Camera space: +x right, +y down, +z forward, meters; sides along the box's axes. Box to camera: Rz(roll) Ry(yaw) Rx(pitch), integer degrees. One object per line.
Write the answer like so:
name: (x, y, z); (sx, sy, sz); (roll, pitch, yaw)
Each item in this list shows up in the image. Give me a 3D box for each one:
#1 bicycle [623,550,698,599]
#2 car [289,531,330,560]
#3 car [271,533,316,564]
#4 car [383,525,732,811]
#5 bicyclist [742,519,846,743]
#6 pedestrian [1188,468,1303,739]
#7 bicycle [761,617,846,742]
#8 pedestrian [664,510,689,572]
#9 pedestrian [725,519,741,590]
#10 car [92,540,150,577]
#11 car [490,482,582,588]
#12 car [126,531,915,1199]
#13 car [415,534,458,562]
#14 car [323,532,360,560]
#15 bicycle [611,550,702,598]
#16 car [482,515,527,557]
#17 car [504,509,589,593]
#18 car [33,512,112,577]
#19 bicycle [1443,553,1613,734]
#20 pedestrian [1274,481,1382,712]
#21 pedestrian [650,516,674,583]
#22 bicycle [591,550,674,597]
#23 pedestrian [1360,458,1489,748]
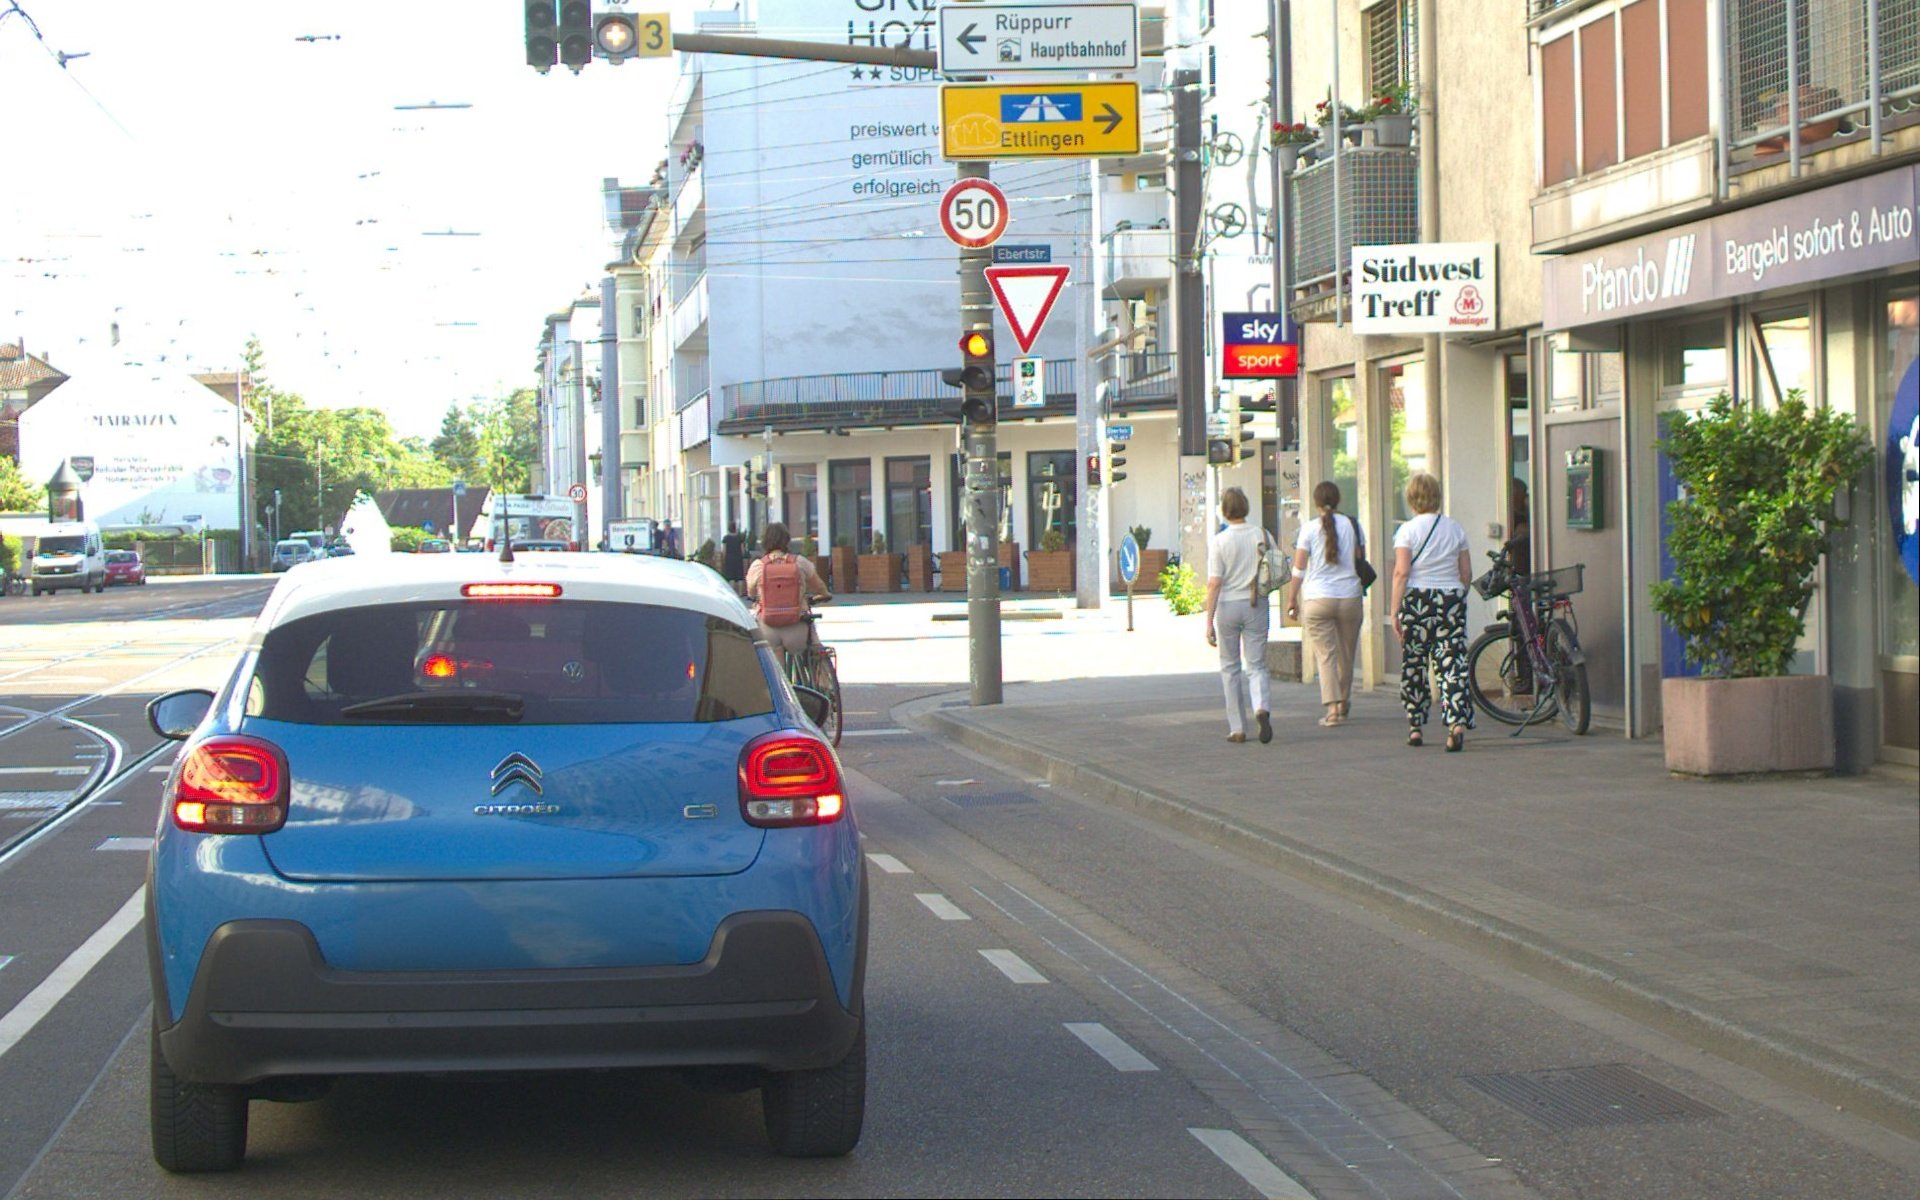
bicycle: (-6.203, -0.532, 71.270); (1.503, 0.953, 0.702); (-1, 1, -3)
car: (-36.030, -3.022, 190.533); (2.021, 1.520, 4.001); (-1, 1, -8)
car: (-33.539, -2.588, 173.051); (2.021, 1.520, 4.001); (-1, 1, -8)
car: (-2.196, 0.299, 19.439); (1.738, 1.415, 4.001); (-1, 1, -5)
bicyclist: (-1.252, 0.218, 25.811); (0.726, 1.640, 0.790); (-1, 1, -4)
pedestrian: (1.806, 0.010, 21.781); (0.541, 1.666, 0.624); (-3, 3, -6)
bicycle: (-1.205, 0.590, 26.230); (0.498, 0.861, 1.749); (-1, 1, -7)
pedestrian: (-7.110, -1.477, 86.218); (0.491, 1.550, 0.648); (-1, 1, -13)
pedestrian: (-4.985, -1.003, 75.501); (0.284, 1.550, 0.305); (-1, 1, -13)
car: (-36.124, -1.814, 148.106); (2.021, 1.520, 4.001); (-1, 1, -8)
car: (-9.579, -1.452, 77.490); (1.993, 2.317, 4.001); (0, 1, -8)
car: (-1.363, 0.540, 9.601); (1.743, 1.457, 4.001); (0, 1, -12)
car: (-23.869, -2.382, 156.660); (1.754, 1.255, 3.833); (-1, 1, -11)
car: (-39.372, -3.439, 218.862); (1.993, 1.678, 4.001); (-2, 1, -14)
bicycle: (-6.378, -0.548, 72.320); (1.873, 0.953, 0.702); (-1, 1, -3)
car: (-18.017, -2.516, 136.019); (1.688, 1.612, 4.001); (0, 1, -7)
car: (-8.754, -1.036, 72.625); (1.732, 1.744, 3.214); (0, 1, -8)
car: (-31.711, -2.008, 122.947); (2.206, 2.243, 4.678); (-1, 1, -8)
bicycle: (3.557, 0.252, 21.651); (0.530, 1.068, 1.811); (-1, 1, -8)
pedestrian: (2.471, -0.033, 23.126); (0.541, 1.502, 0.611); (-3, 3, -6)
pedestrian: (-6.929, -1.175, 79.901); (0.491, 1.550, 0.384); (-1, 1, -7)
bicycle: (-7.010, -0.563, 73.639); (1.720, 0.953, 0.702); (-1, 1, -3)
pedestrian: (2.761, 0.010, 20.455); (0.541, 1.666, 0.650); (-3, 1, -6)
